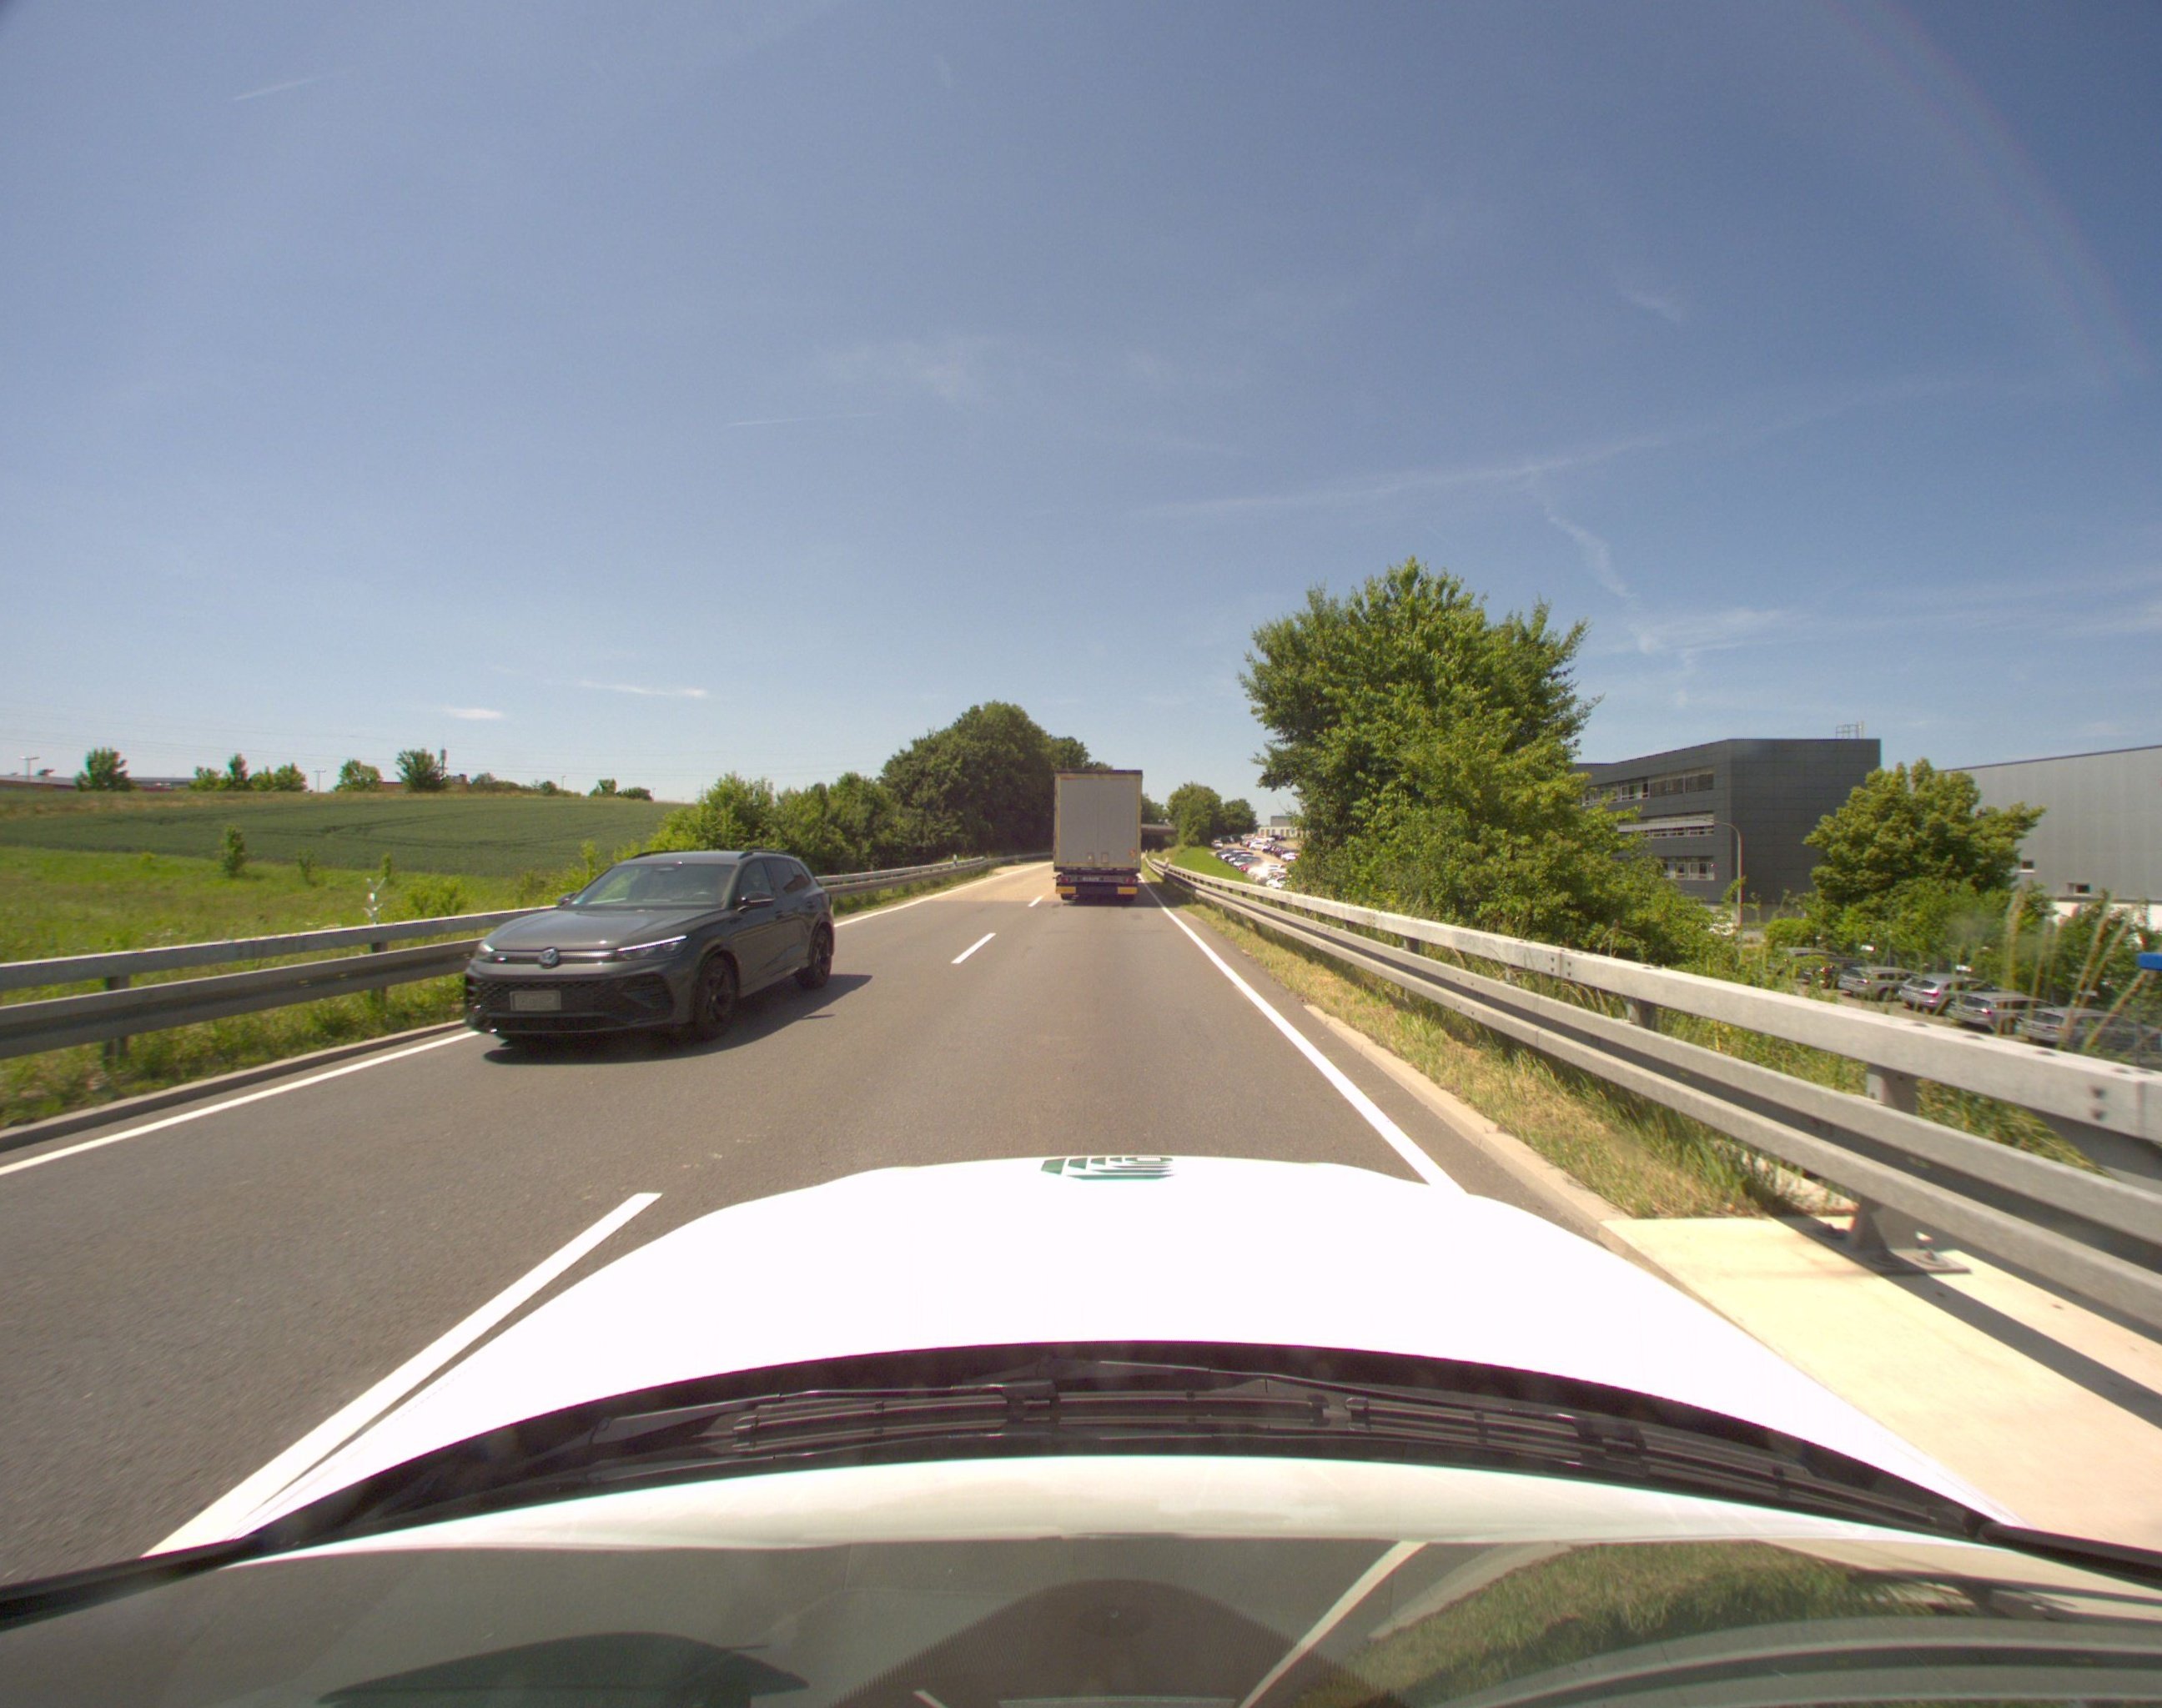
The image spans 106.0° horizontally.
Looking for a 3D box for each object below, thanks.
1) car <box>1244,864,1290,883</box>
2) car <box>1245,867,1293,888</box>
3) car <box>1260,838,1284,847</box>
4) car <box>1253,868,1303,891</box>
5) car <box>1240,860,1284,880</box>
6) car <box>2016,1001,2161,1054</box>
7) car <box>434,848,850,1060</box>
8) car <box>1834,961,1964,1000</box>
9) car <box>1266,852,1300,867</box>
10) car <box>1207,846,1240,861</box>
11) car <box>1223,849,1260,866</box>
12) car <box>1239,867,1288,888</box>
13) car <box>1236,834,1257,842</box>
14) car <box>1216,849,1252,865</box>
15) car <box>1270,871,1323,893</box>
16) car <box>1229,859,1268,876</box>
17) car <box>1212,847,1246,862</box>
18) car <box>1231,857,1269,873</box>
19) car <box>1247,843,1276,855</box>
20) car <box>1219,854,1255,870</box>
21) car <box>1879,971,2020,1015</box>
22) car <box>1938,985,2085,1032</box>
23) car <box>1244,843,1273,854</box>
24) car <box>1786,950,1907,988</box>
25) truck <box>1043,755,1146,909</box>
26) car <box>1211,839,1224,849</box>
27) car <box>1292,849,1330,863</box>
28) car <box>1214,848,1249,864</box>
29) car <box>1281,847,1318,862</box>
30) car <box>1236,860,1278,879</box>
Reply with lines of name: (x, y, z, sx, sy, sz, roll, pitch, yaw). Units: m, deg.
car: (20.124, 2.090, 87.950, 4.323, 1.558, 1.900, 8, 4, 33)
car: (19.559, 2.418, 84.666, 4.324, 1.558, 1.899, 7, 4, 28)
car: (39.446, -2.424, 168.150, 4.529, 1.628, 1.832, 4, 1, 39)
car: (19.240, 2.478, 79.631, 4.324, 1.558, 1.873, 7, 4, 28)
car: (20.304, 1.781, 91.349, 4.407, 1.685, 1.899, 7, 4, 25)
car: (39.811, 6.773, 31.955, 4.023, 1.571, 1.913, 0, 3, 1)
car: (-3.962, 0.754, 8.381, 1.859, 1.611, 4.373, 0, 0, 0)
car: (40.362, 6.239, 40.278, 4.555, 1.571, 1.821, 0, 3, 1)
car: (30.790, 0.802, 123.922, 4.531, 1.628, 1.832, 8, 4, 30)
car: (20.933, -0.074, 119.963, 4.383, 1.685, 1.874, 4, 4, -25)
car: (21.212, 0.472, 107.790, 4.383, 1.685, 1.874, 4, 4, -25)
car: (18.506, 2.344, 82.599, 4.324, 1.558, 1.899, 7, 4, 28)
car: (37.159, -3.645, 183.210, 4.383, 1.684, 1.874, 0, 5, -25)
car: (20.897, 0.370, 111.112, 4.383, 1.685, 1.874, 4, 4, -25)
car: (20.136, 2.592, 76.196, 4.324, 1.455, 1.830, 7, 4, 28)
car: (20.071, 1.586, 97.323, 4.393, 1.685, 1.870, 3, 4, -33)
car: (21.235, 0.122, 117.111, 4.383, 1.685, 1.874, 4, 4, -25)
car: (20.948, 1.371, 100.708, 4.393, 1.685, 1.870, 3, 4, -33)
car: (31.113, -0.896, 140.660, 4.531, 1.628, 1.831, 4, 2, 24)
car: (20.036, 1.064, 104.409, 4.393, 1.685, 1.870, 3, 4, -33)
car: (40.124, 6.412, 37.697, 4.555, 1.571, 1.821, 0, 3, 1)
car: (39.726, 6.583, 34.840, 4.023, 1.571, 1.913, 0, 3, 1)
car: (31.218, -0.954, 143.153, 4.532, 1.628, 1.831, 5, 3, 24)
car: (40.384, 6.055, 43.038, 4.555, 1.571, 1.821, 1, 3, 1)
truck: (0.555, -0.709, 28.347, 2.855, 4.359, 9.794, 1, 1, 2)
car: (24.409, -1.777, 145.612, 1.619, 1.353, 3.712, 6, 3, 0)
car: (30.941, 0.281, 109.725, 4.528, 1.519, 1.833, 3, 6, 34)
car: (21.132, 0.267, 114.198, 4.383, 1.685, 1.874, 4, 4, -25)
car: (30.407, 0.088, 113.319, 4.531, 1.628, 1.832, 8, 4, 30)
car: (20.480, 1.769, 94.846, 4.374, 1.685, 1.878, 5, 3, -18)
